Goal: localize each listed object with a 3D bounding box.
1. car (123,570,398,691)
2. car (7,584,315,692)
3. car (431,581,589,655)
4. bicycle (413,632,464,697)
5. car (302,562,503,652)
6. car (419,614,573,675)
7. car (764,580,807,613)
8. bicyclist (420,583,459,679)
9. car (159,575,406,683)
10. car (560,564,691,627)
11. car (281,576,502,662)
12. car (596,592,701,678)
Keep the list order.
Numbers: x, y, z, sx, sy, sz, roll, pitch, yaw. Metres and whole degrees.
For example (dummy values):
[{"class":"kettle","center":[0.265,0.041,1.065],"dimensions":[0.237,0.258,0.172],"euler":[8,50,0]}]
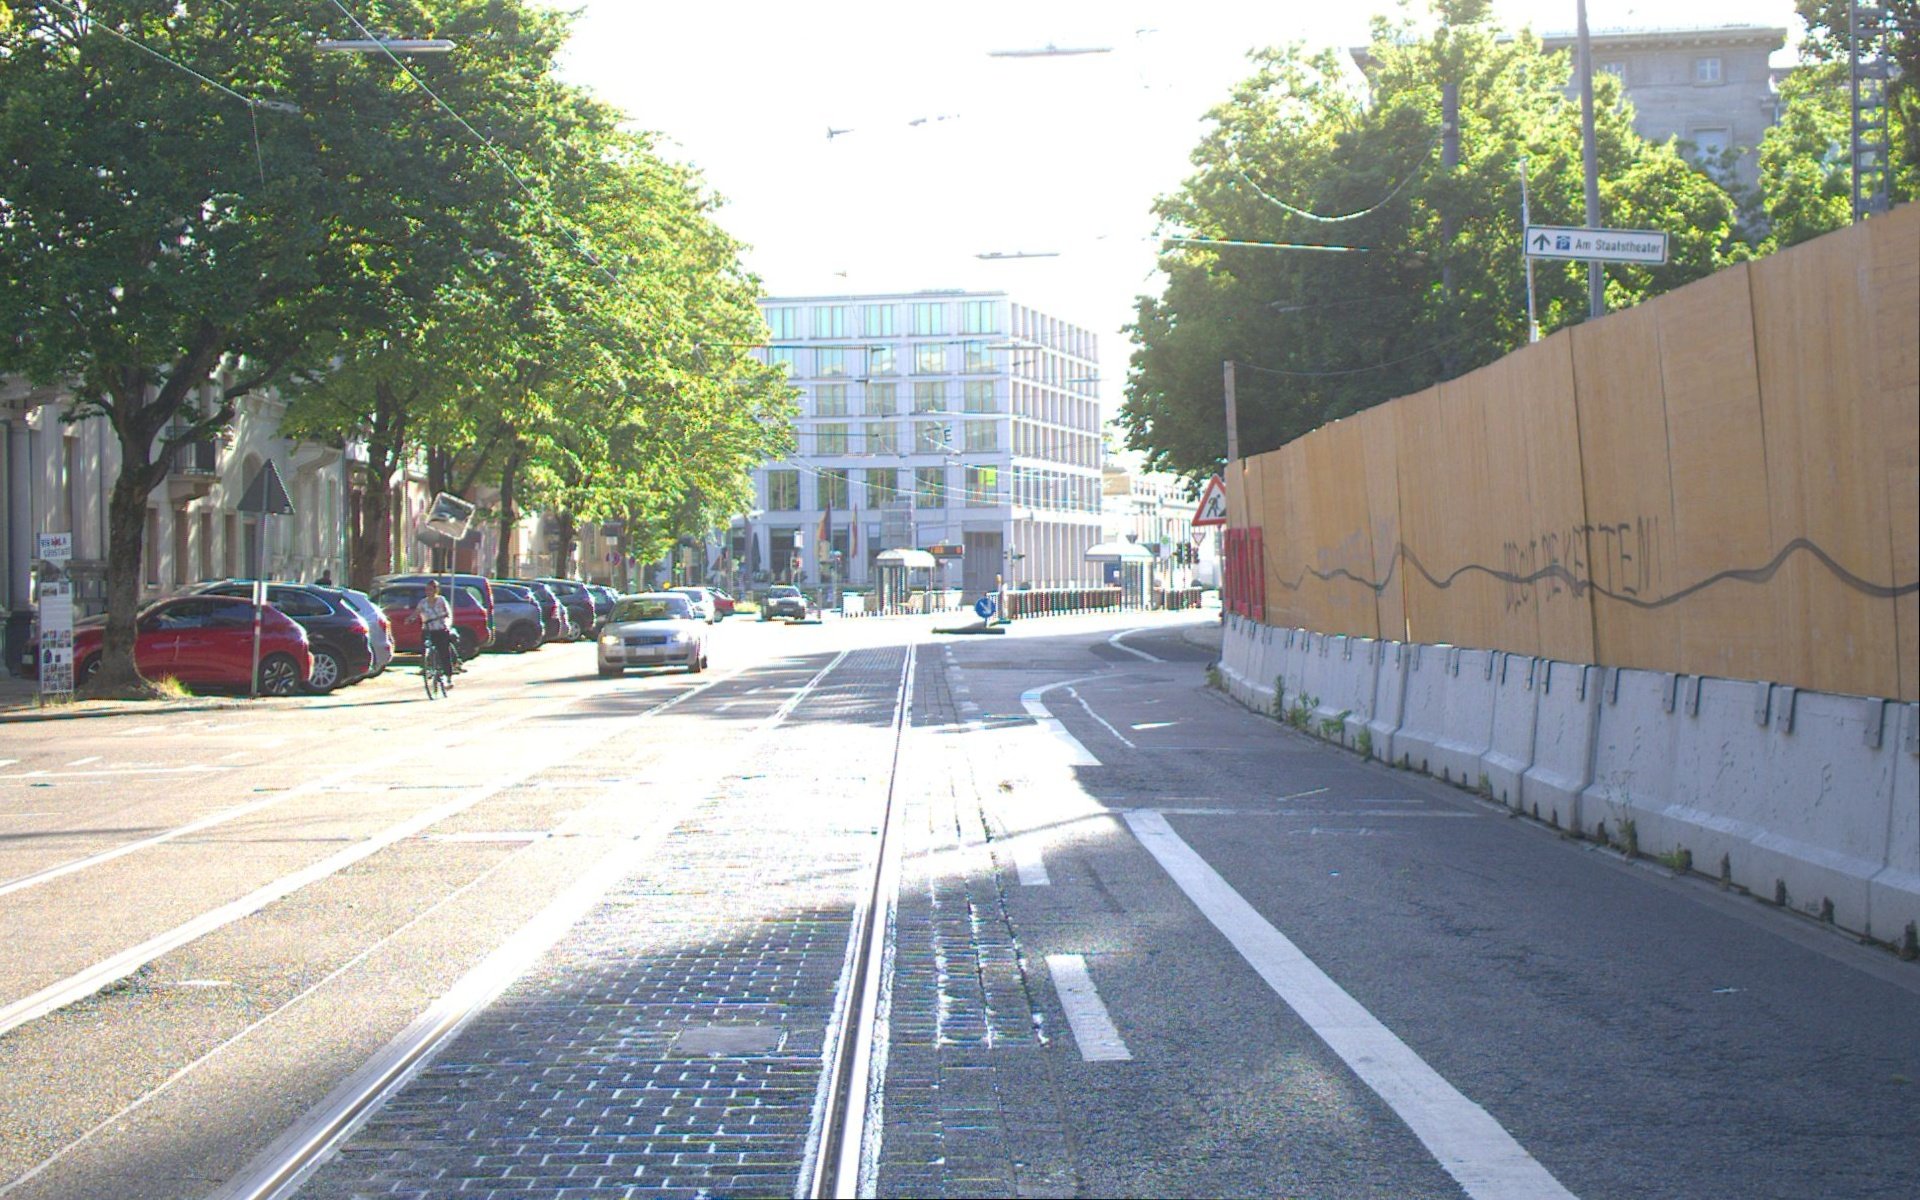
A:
[{"class":"car","center":[-10.447,0.433,51.438],"dimensions":[3.674,1.716,1.611],"euler":[-1,0,-35]},{"class":"car","center":[-11.297,0.548,48.668],"dimensions":[3.901,1.448,1.638],"euler":[1,-1,-34]},{"class":"car","center":[-10.483,0.414,80.063],"dimensions":[3.372,1.692,1.405],"euler":[0,0,-28]},{"class":"bicycle","center":[-7.494,0.916,49.457],"dimensions":[0.449,0.878,1.901],"euler":[-1,0,0]},{"class":"car","center":[-11.858,0.162,73.173],"dimensions":[3.828,1.826,1.732],"euler":[1,-1,-30]},{"class":"car","center":[-11.083,1.054,82.094],"dimensions":[3.372,1.415,1.405],"euler":[0,0,-28]},{"class":"car","center":[-8.188,-0.177,161.465],"dimensions":[1.558,1.525,3.999],"euler":[-1,0,4]},{"class":"bicyclist","center":[-7.483,0.440,49.456],"dimensions":[0.457,1.373,0.641],"euler":[-1,0,0]},{"class":"car","center":[-11.224,0.458,57.045],"dimensions":[3.674,1.716,1.611],"euler":[-1,0,-35]},{"class":"car","center":[-9.128,-0.125,93.791],"dimensions":[3.270,1.692,1.470],"euler":[-1,0,-22]},{"class":"car","center":[-11.582,0.378,70.103],"dimensions":[4.159,1.715,1.584],"euler":[0,0,-27]},{"class":"car","center":[-5.459,0.586,60.645],"dimensions":[1.709,1.431,4.171],"euler":[-1,0,-4]}]
